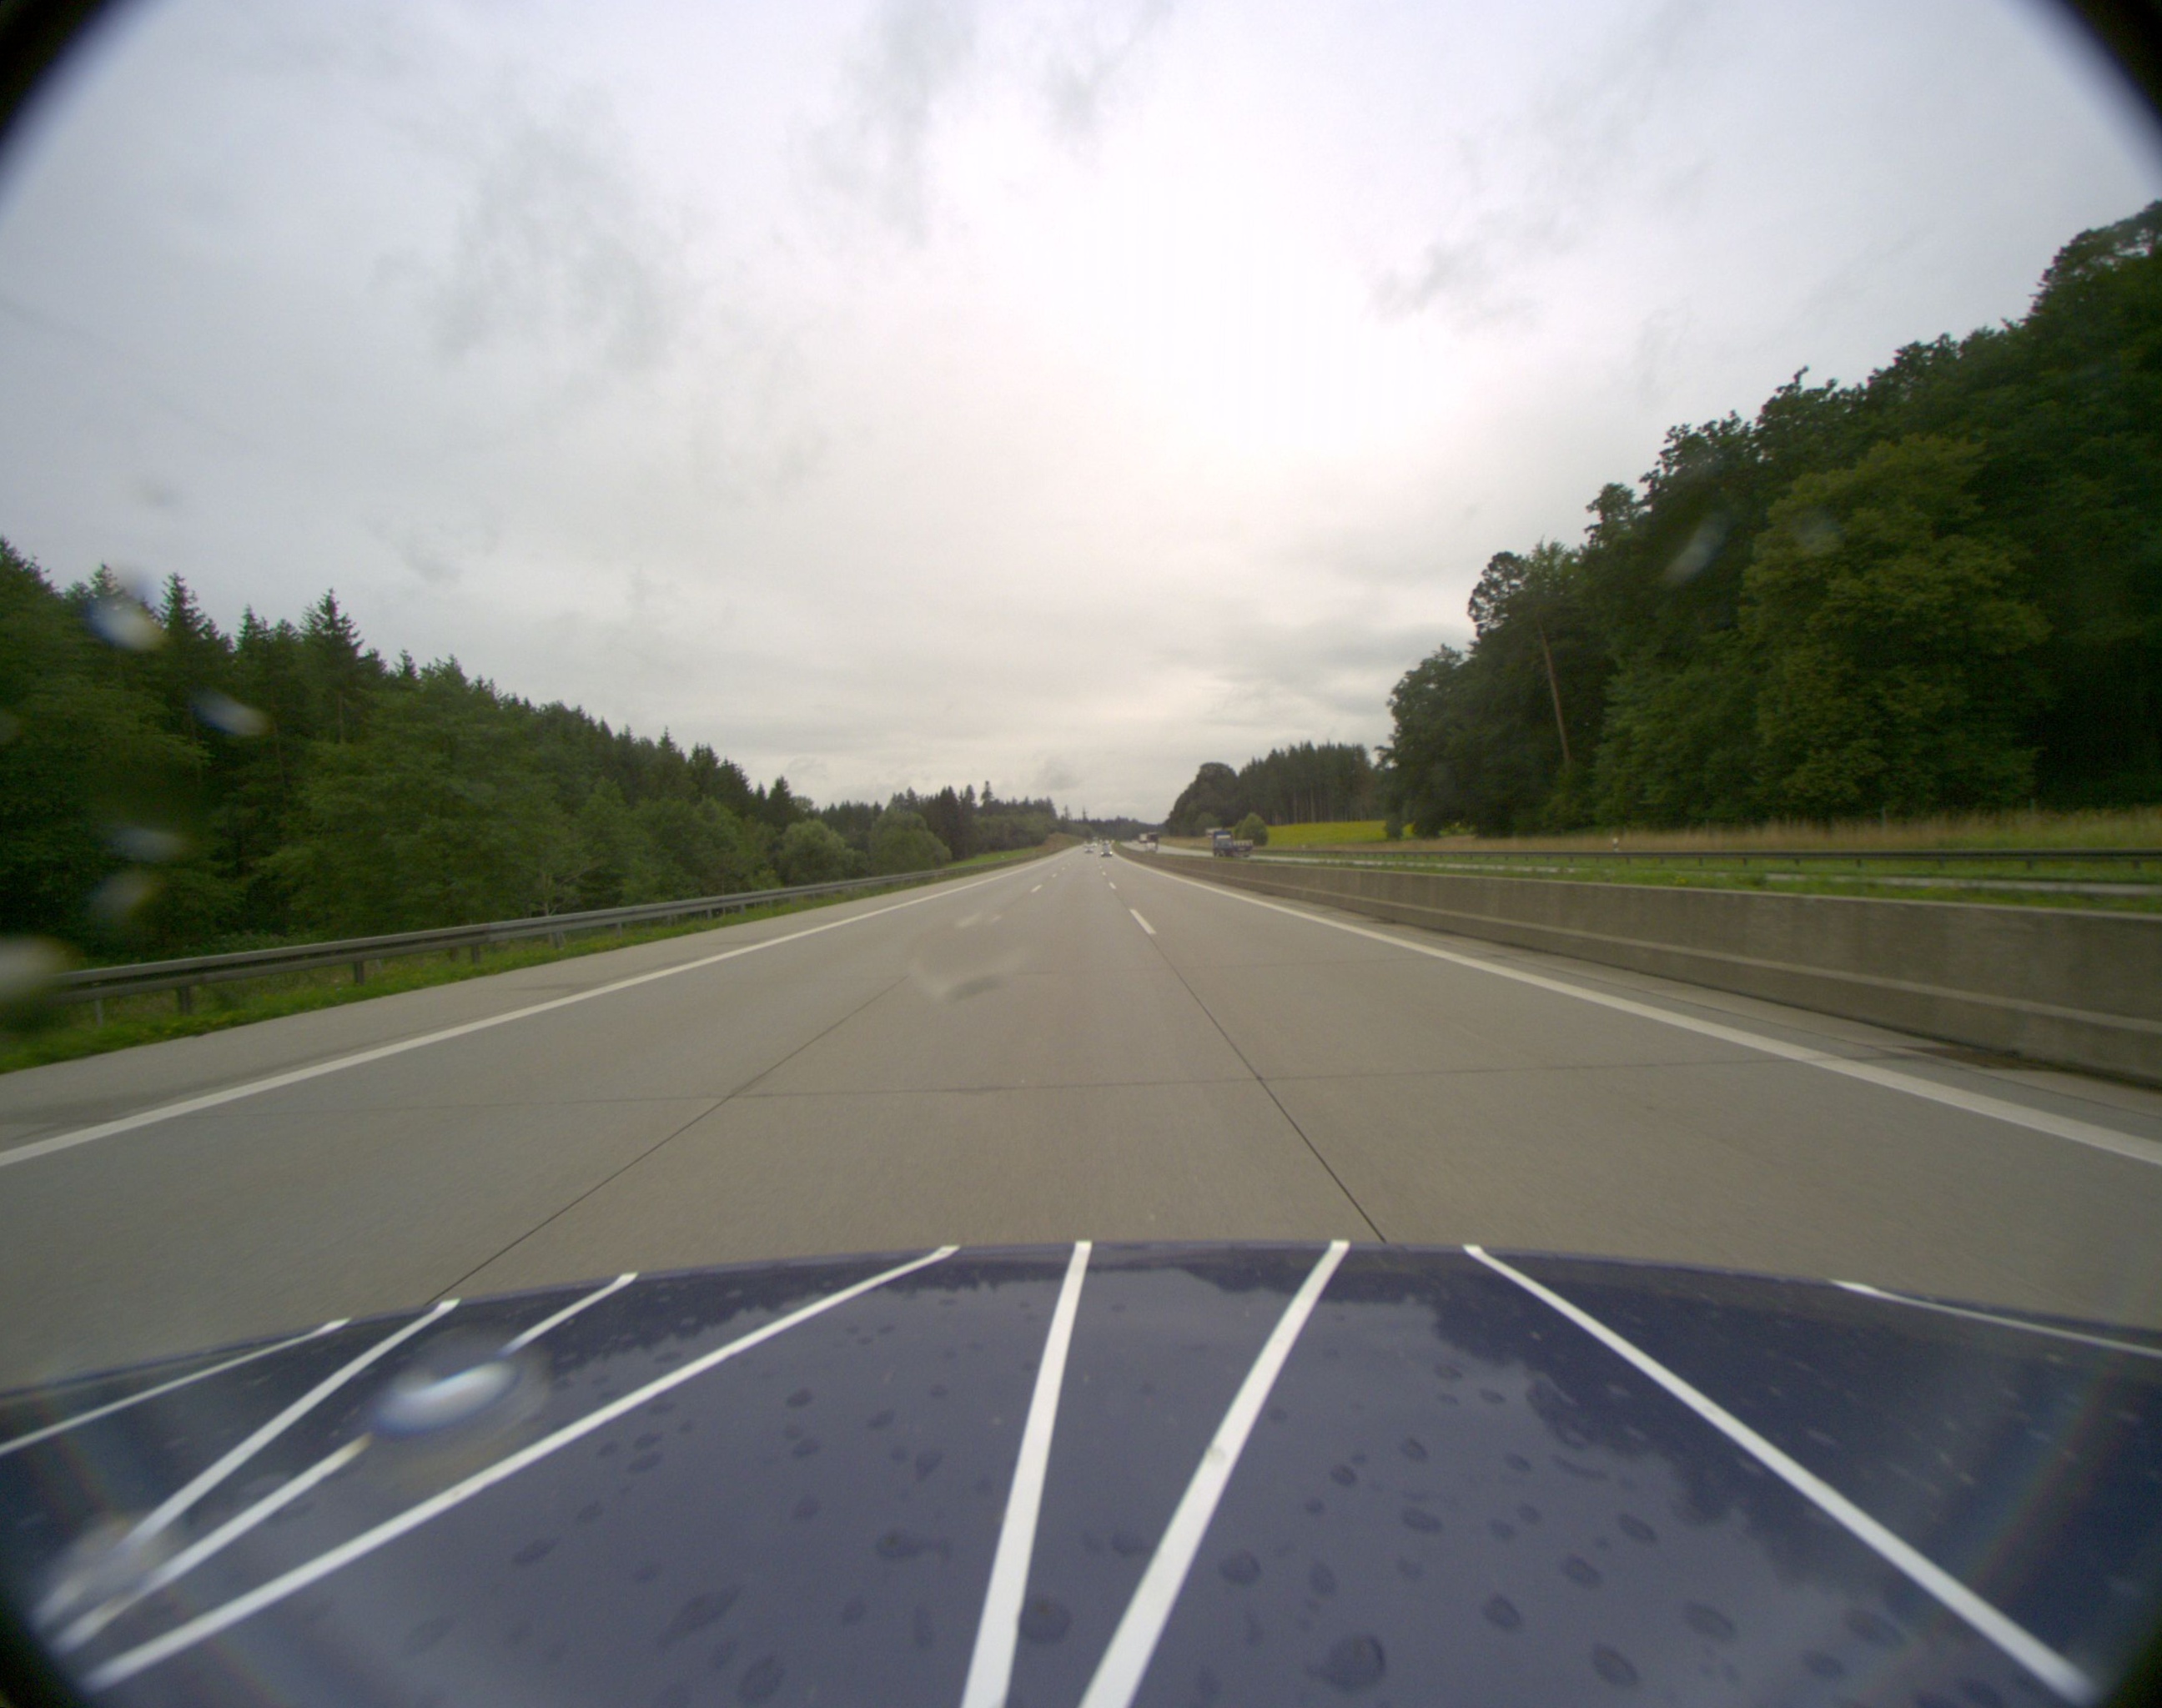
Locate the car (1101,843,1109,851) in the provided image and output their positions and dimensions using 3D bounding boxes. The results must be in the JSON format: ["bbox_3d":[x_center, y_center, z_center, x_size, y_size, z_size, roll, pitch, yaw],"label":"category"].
[{"bbox_3d":[6.122,-1.829,192.447,1.773,1.783,4.000,-2,0,0],"label":"car"}]

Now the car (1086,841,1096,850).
[{"bbox_3d":[2.386,-1.917,178.337,2.213,2.002,4.833,-3,1,0],"label":"car"}]

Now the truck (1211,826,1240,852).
[{"bbox_3d":[20.304,-2.111,107.368,2.763,3.497,6.639,-3,1,1],"label":"truck"}]

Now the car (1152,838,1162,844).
[{"bbox_3d":[18.720,-3.316,187.904,1.852,1.369,4.435,-3,1,-1],"label":"car"}]

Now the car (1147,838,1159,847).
[{"bbox_3d":[15.414,-2.469,163.103,2.093,1.791,5.496,-3,1,1],"label":"car"}]

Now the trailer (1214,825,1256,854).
[{"bbox_3d":[20.241,-1.961,100.804,2.792,3.488,13.882,-3,1,1],"label":"trailer"}]

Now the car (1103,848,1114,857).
[{"bbox_3d":[4.864,-0.266,133.403,1.766,1.455,4.001,-3,-1,2],"label":"car"}]

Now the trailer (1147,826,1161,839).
[{"bbox_3d":[23.592,-6.984,246.048,3.243,4.029,14.128,-3,1,1],"label":"trailer"}]
